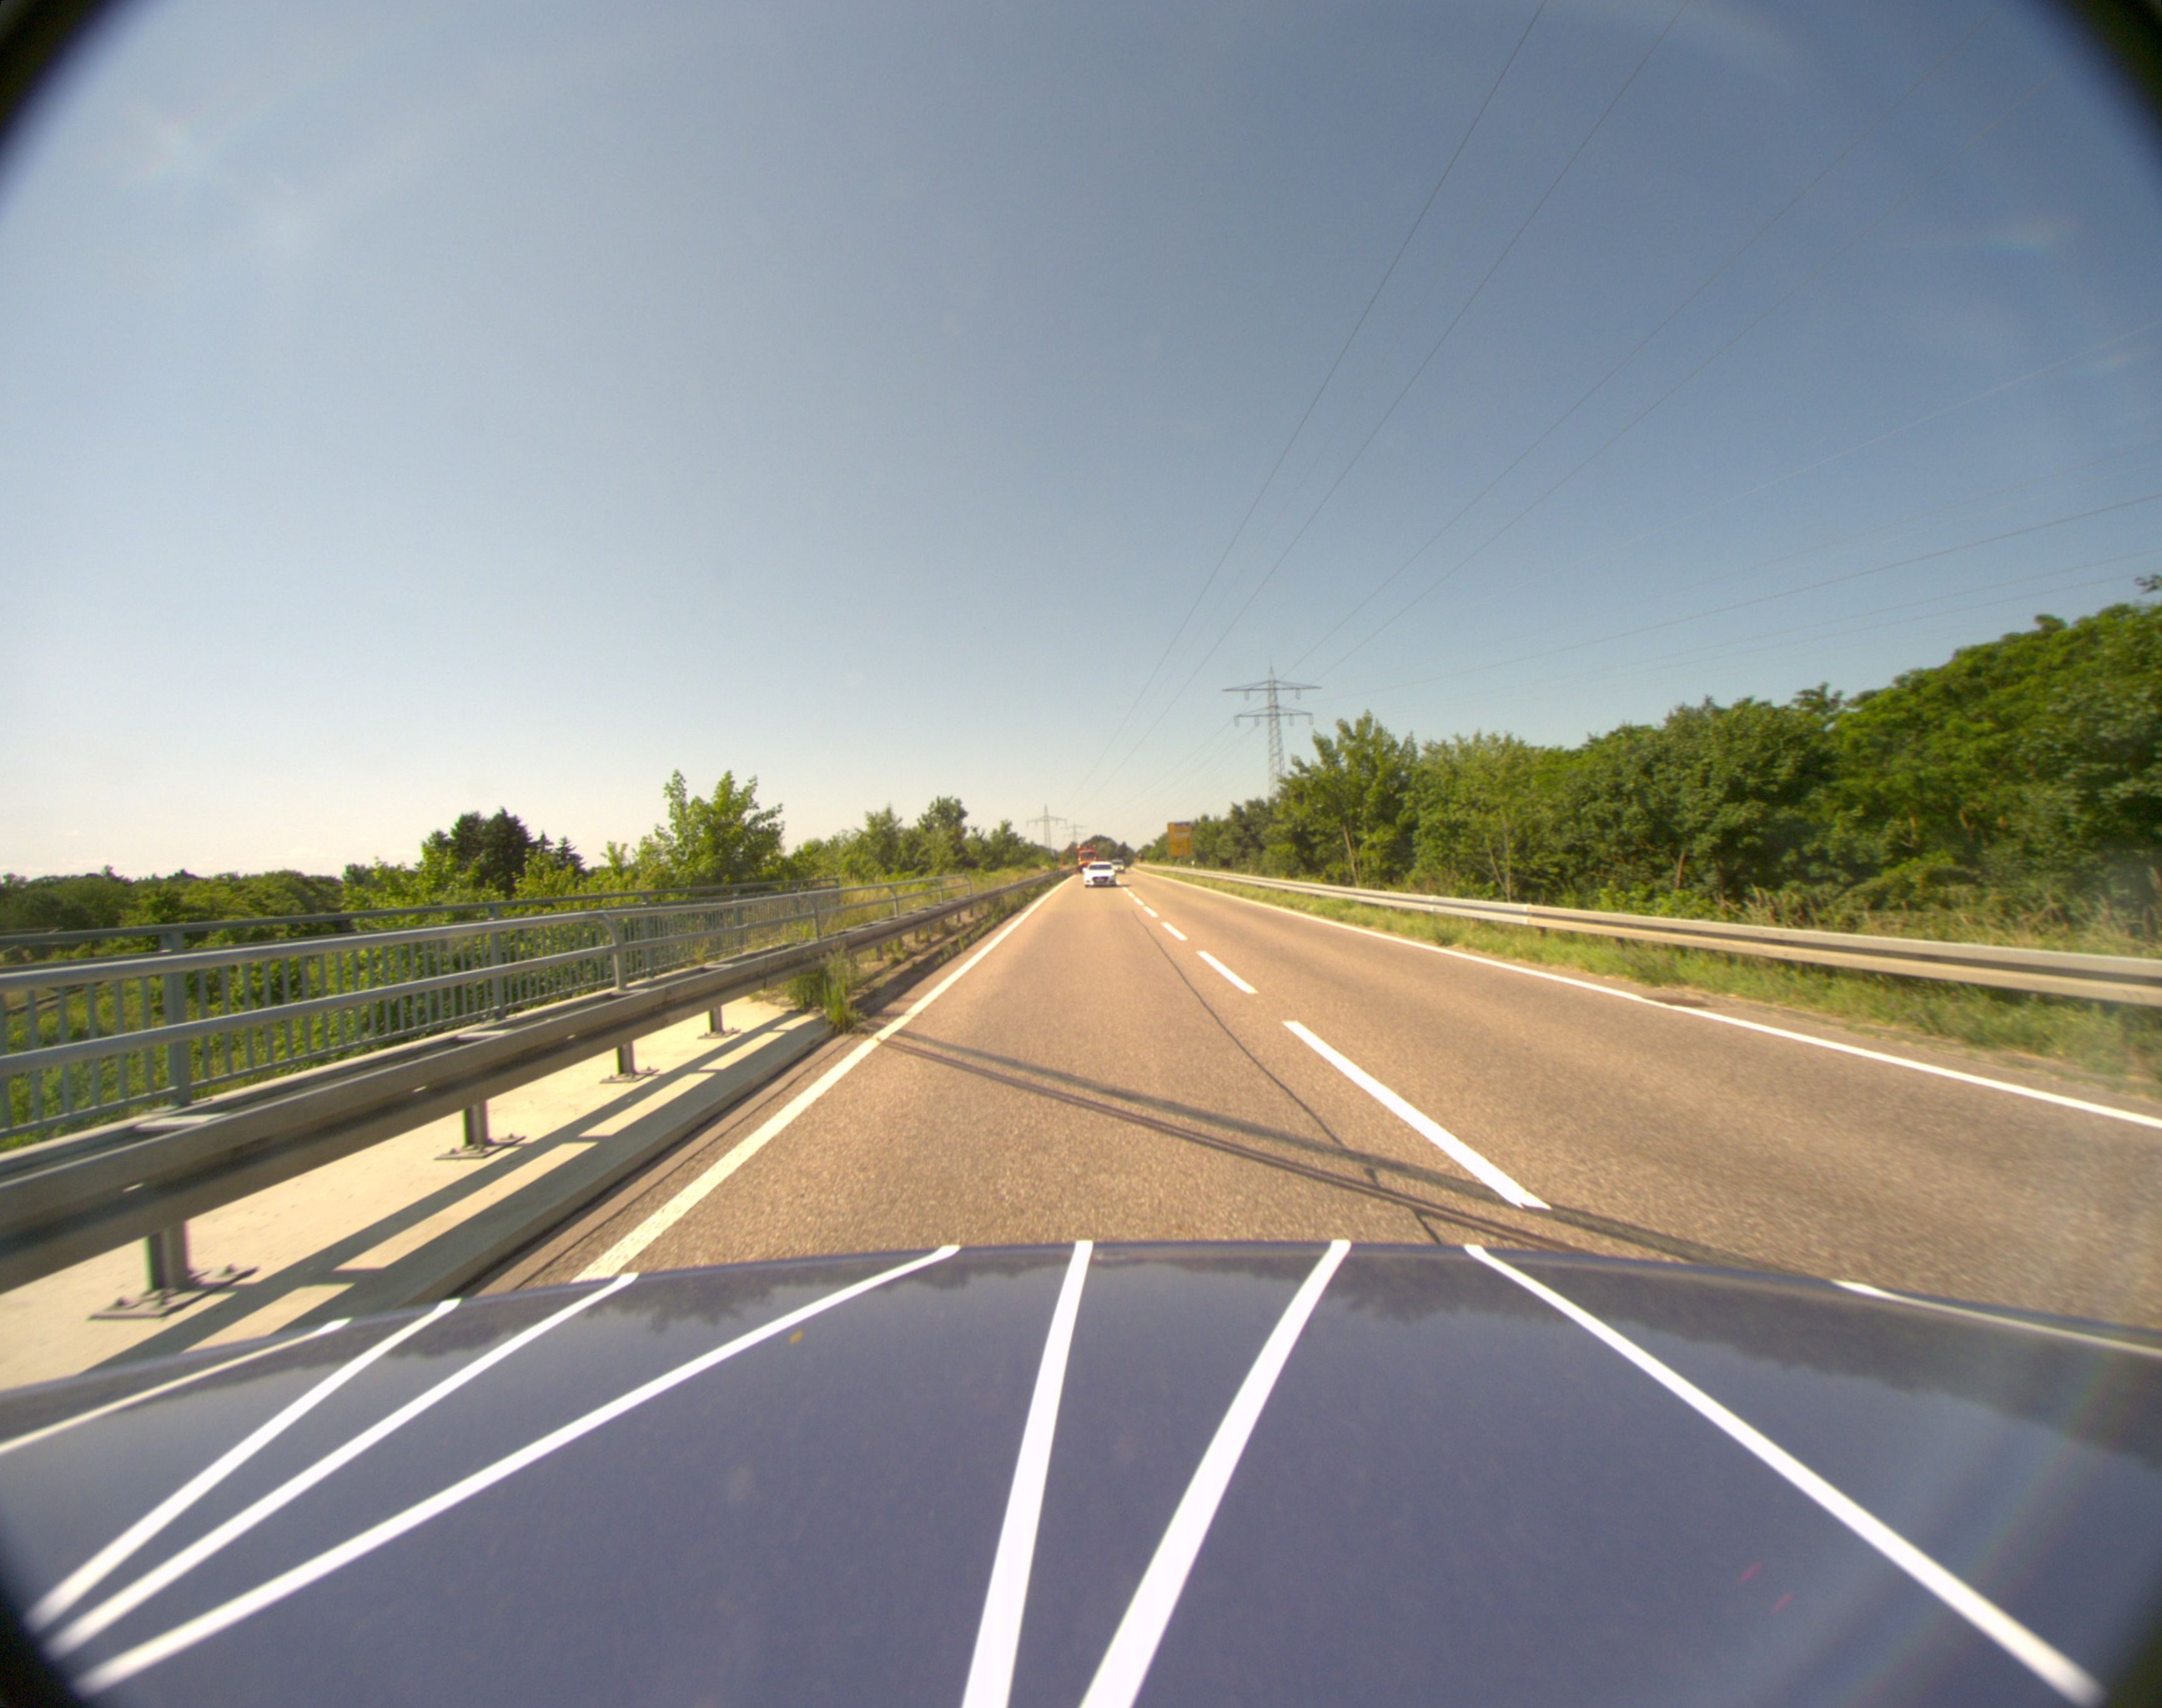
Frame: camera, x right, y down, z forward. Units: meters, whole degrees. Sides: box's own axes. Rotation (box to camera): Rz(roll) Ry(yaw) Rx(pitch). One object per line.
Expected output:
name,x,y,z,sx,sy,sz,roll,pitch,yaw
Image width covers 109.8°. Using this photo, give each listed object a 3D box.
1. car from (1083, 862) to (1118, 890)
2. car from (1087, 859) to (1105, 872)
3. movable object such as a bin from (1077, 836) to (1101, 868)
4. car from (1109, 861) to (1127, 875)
car,1.172,1.270,45.389,1.922,1.496,4.794,-2,-1,2
car,2.347,1.835,119.854,2.127,1.934,5.016,-2,-1,-8
movable object such as a bin,1.054,-0.182,96.610,2.760,3.816,9.446,-2,-1,1
car,4.203,1.543,85.544,1.922,1.539,4.795,-2,-1,2
